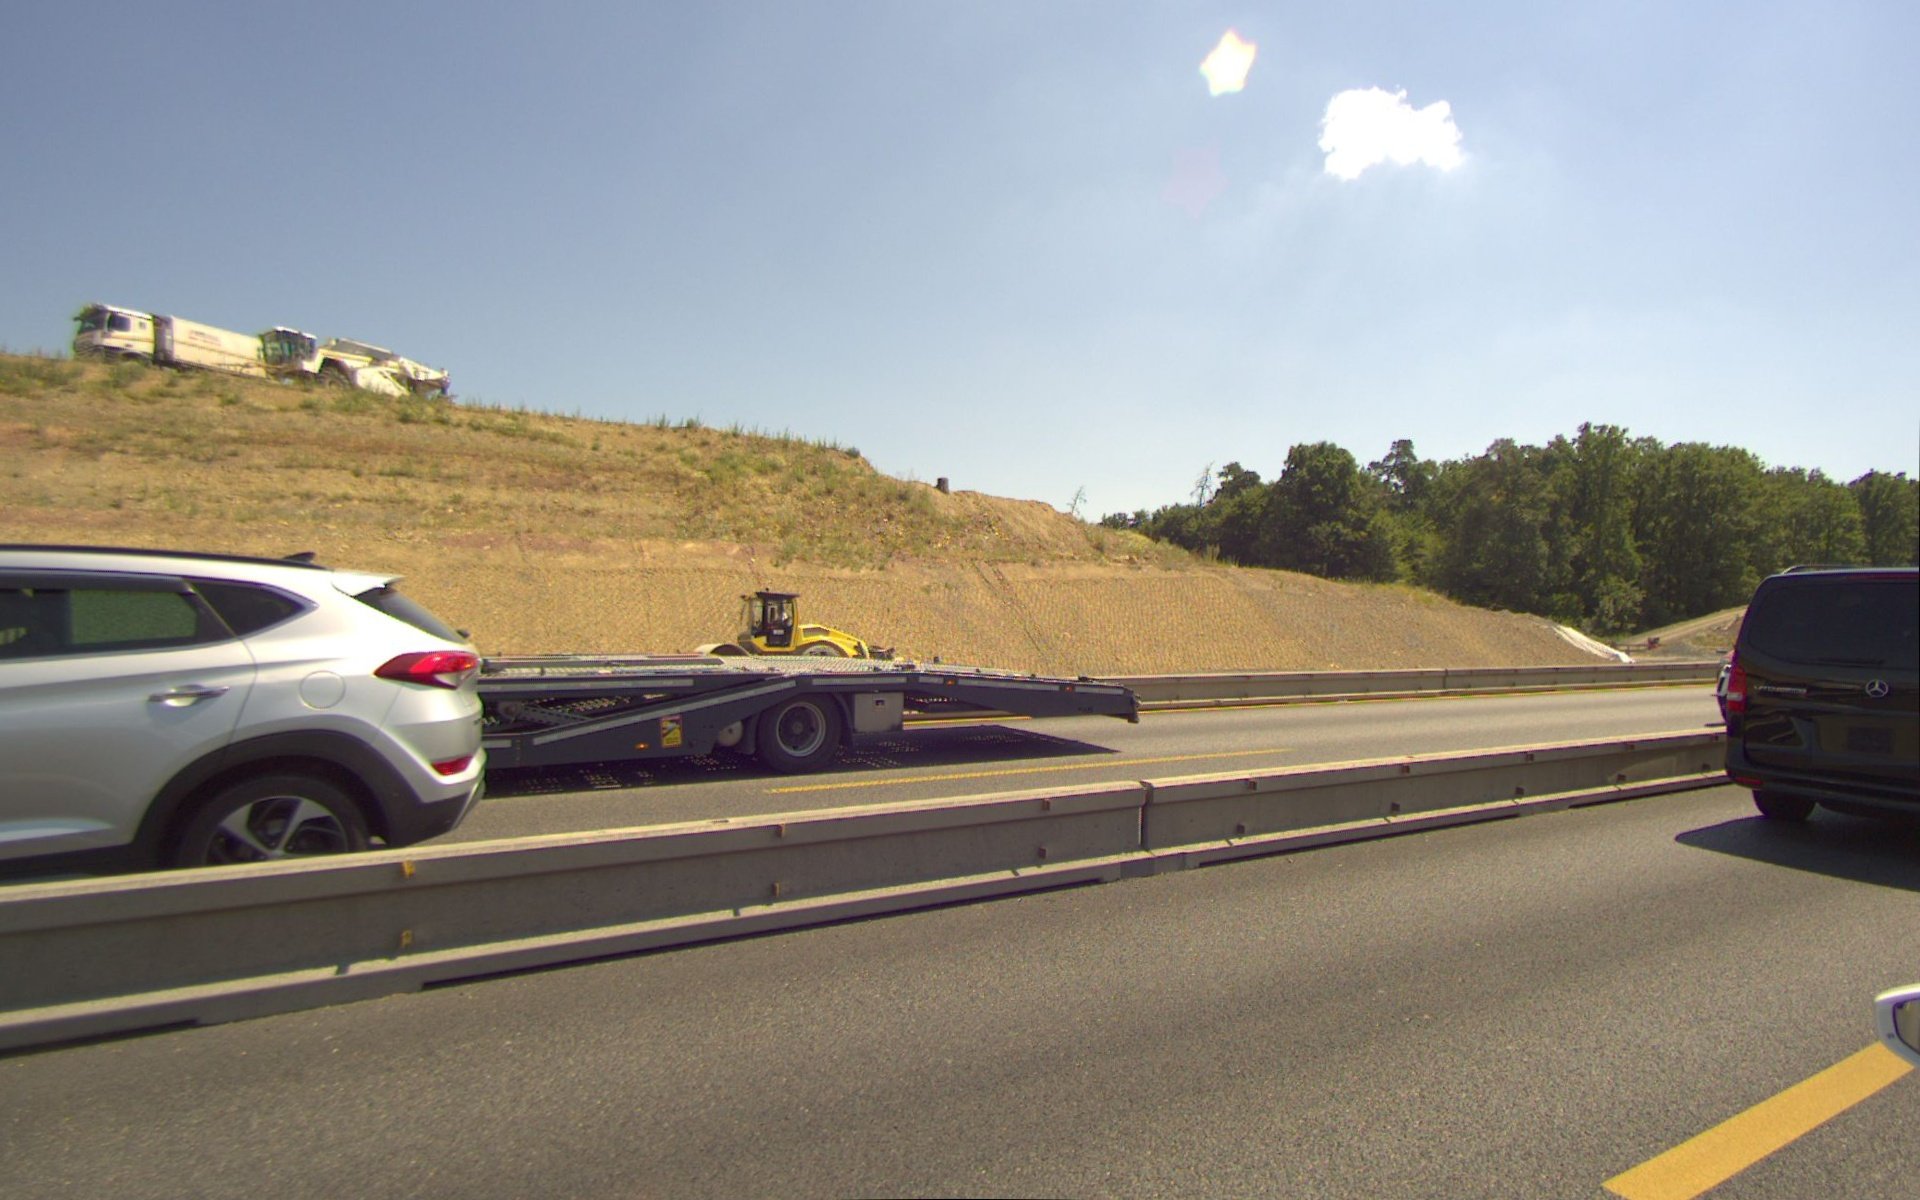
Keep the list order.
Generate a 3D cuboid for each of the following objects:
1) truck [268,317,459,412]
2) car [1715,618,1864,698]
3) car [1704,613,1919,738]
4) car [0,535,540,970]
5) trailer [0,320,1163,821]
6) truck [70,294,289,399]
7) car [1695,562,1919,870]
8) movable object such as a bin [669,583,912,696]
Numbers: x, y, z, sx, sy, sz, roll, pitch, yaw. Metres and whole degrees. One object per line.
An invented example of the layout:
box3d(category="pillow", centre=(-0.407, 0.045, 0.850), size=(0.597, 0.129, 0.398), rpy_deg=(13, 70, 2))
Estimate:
box3d(category="truck", centre=(-31.098, -12.194, 52.937), size=(2.258, 2.785, 8.901), rpy_deg=(2, 0, 24))
box3d(category="car", centre=(16.981, 1.186, 20.538), size=(3.116, 1.481, 1.369), rpy_deg=(3, 0, -31))
box3d(category="car", centre=(12.803, 1.062, 14.622), size=(4.019, 1.577, 1.618), rpy_deg=(3, 0, -29))
box3d(category="car", centre=(-4.322, 0.557, 4.394), size=(4.342, 1.652, 1.715), rpy_deg=(3, 0, -32))
box3d(category="trailer", centre=(-5.023, -0.143, 7.702), size=(15.088, 2.971, 2.336), rpy_deg=(2, 0, -30))
box3d(category="truck", centre=(-38.261, -12.321, 49.692), size=(2.317, 2.937, 8.362), rpy_deg=(2, 0, 24))
box3d(category="car", centre=(8.051, 0.778, 7.721), size=(5.415, 1.876, 1.865), rpy_deg=(2, 0, -31))
box3d(category="movable object such as a bin", centre=(-5.098, 1.202, 30.889), size=(7.079, 3.150, 2.159), rpy_deg=(1, -2, -30))
